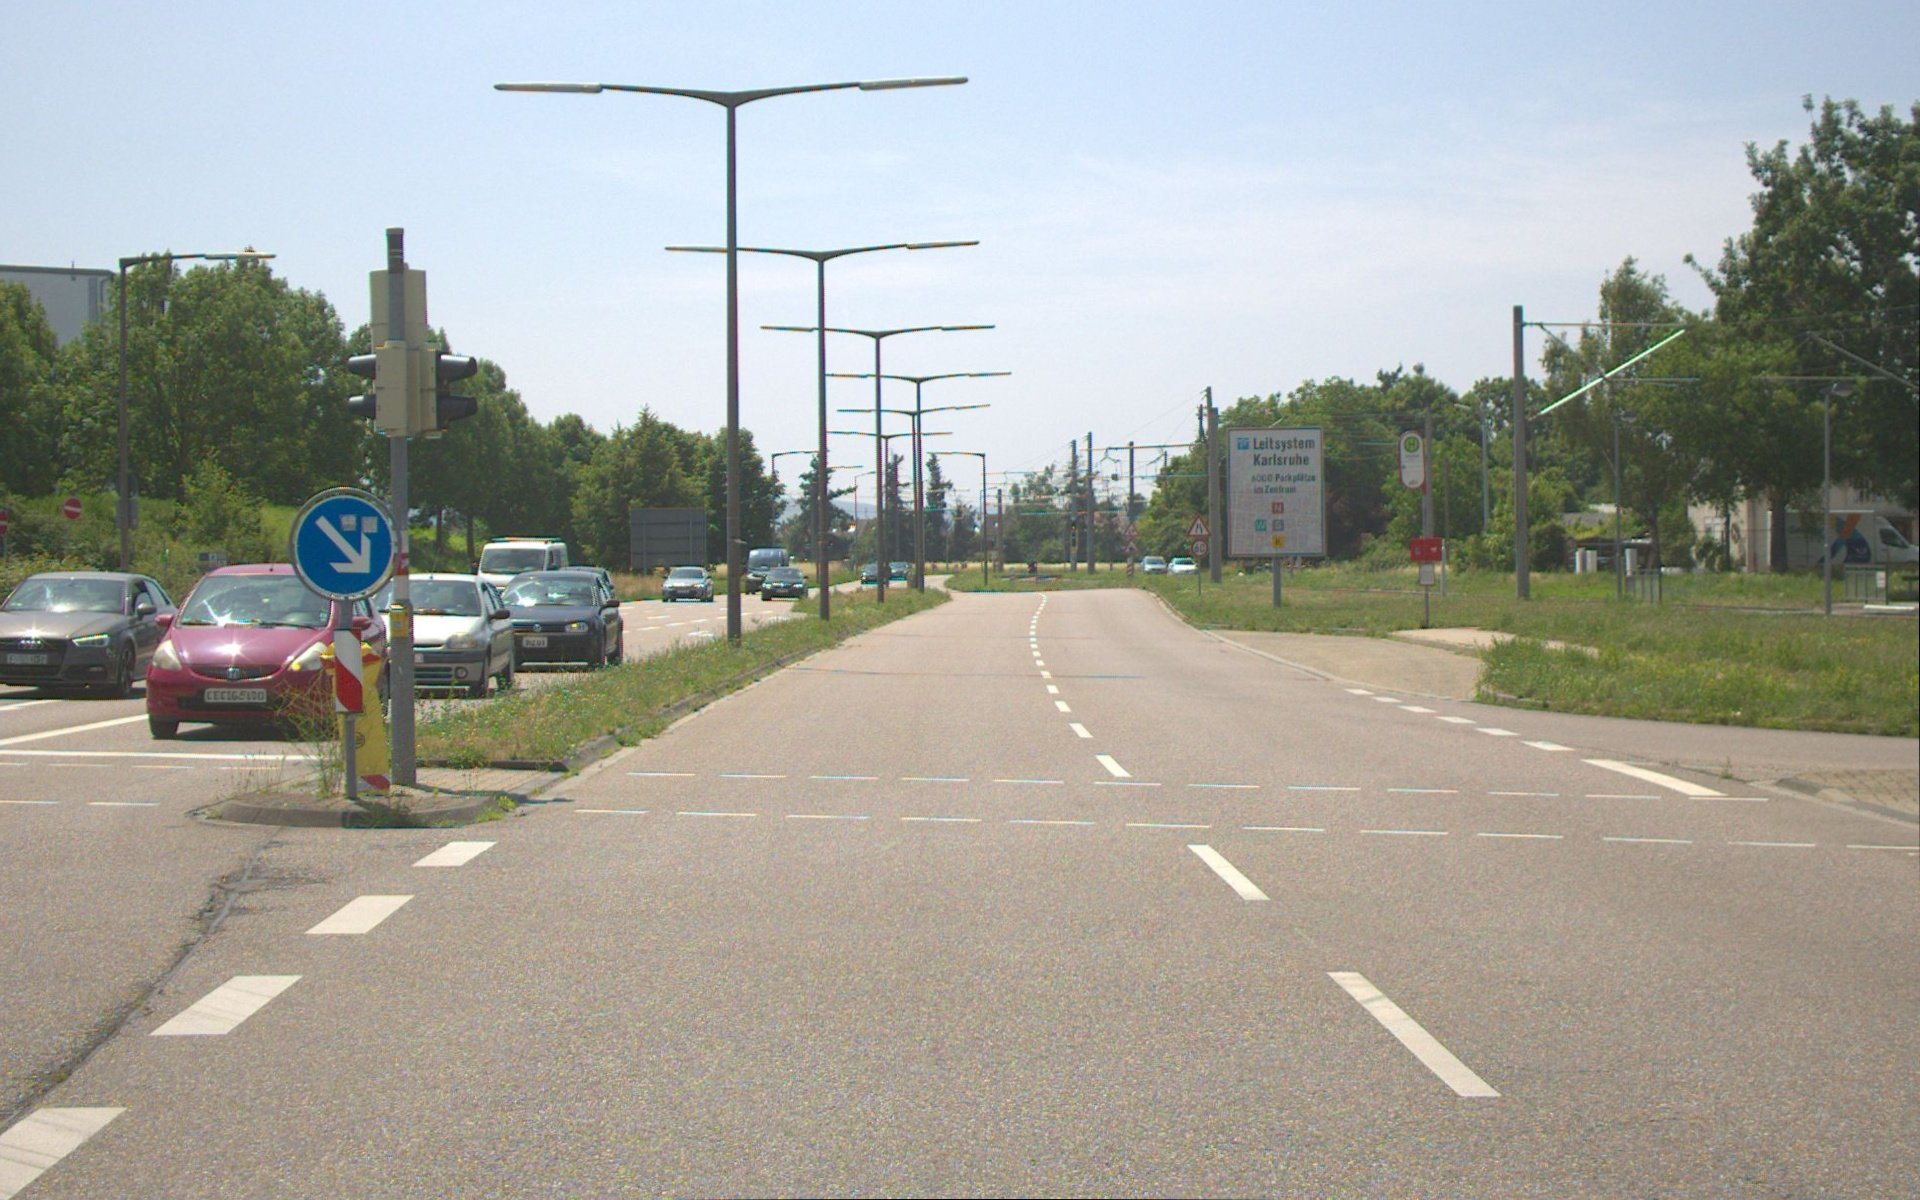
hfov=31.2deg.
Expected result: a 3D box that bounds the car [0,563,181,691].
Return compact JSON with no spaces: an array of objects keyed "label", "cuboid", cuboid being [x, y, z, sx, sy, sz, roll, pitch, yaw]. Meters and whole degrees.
[{"label":"car","cuboid":[-10.216,0.276,39.685,1.596,1.380,4.004,1,1,-1]}]

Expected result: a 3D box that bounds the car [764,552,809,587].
[{"label":"car","cuboid":[-7.481,-1.320,148.785,1.731,1.453,4.565,-1,1,0]}]

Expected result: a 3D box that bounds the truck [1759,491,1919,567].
[{"label":"truck","cuboid":[35.272,-2.842,137.653,5.839,2.833,2.321,-2,0,-7]}]

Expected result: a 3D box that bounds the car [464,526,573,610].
[{"label":"car","cuboid":[-12.455,-0.905,97.335,2.249,2.265,5.449,1,1,1]}]

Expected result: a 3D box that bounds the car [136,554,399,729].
[{"label":"car","cuboid":[-6.233,0.325,31.320,1.658,1.485,4.000,0,1,-1]}]

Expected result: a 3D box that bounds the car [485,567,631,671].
[{"label":"car","cuboid":[-5.825,0.242,50.193,1.675,1.429,4.191,0,1,-1]}]

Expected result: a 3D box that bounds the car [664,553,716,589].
[{"label":"car","cuboid":[-11.271,-1.237,143.606,1.831,1.444,4.851,-1,1,0]}]

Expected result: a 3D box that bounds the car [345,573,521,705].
[{"label":"car","cuboid":[-6.173,0.425,40.605,1.560,1.418,3.854,0,1,-1]}]
